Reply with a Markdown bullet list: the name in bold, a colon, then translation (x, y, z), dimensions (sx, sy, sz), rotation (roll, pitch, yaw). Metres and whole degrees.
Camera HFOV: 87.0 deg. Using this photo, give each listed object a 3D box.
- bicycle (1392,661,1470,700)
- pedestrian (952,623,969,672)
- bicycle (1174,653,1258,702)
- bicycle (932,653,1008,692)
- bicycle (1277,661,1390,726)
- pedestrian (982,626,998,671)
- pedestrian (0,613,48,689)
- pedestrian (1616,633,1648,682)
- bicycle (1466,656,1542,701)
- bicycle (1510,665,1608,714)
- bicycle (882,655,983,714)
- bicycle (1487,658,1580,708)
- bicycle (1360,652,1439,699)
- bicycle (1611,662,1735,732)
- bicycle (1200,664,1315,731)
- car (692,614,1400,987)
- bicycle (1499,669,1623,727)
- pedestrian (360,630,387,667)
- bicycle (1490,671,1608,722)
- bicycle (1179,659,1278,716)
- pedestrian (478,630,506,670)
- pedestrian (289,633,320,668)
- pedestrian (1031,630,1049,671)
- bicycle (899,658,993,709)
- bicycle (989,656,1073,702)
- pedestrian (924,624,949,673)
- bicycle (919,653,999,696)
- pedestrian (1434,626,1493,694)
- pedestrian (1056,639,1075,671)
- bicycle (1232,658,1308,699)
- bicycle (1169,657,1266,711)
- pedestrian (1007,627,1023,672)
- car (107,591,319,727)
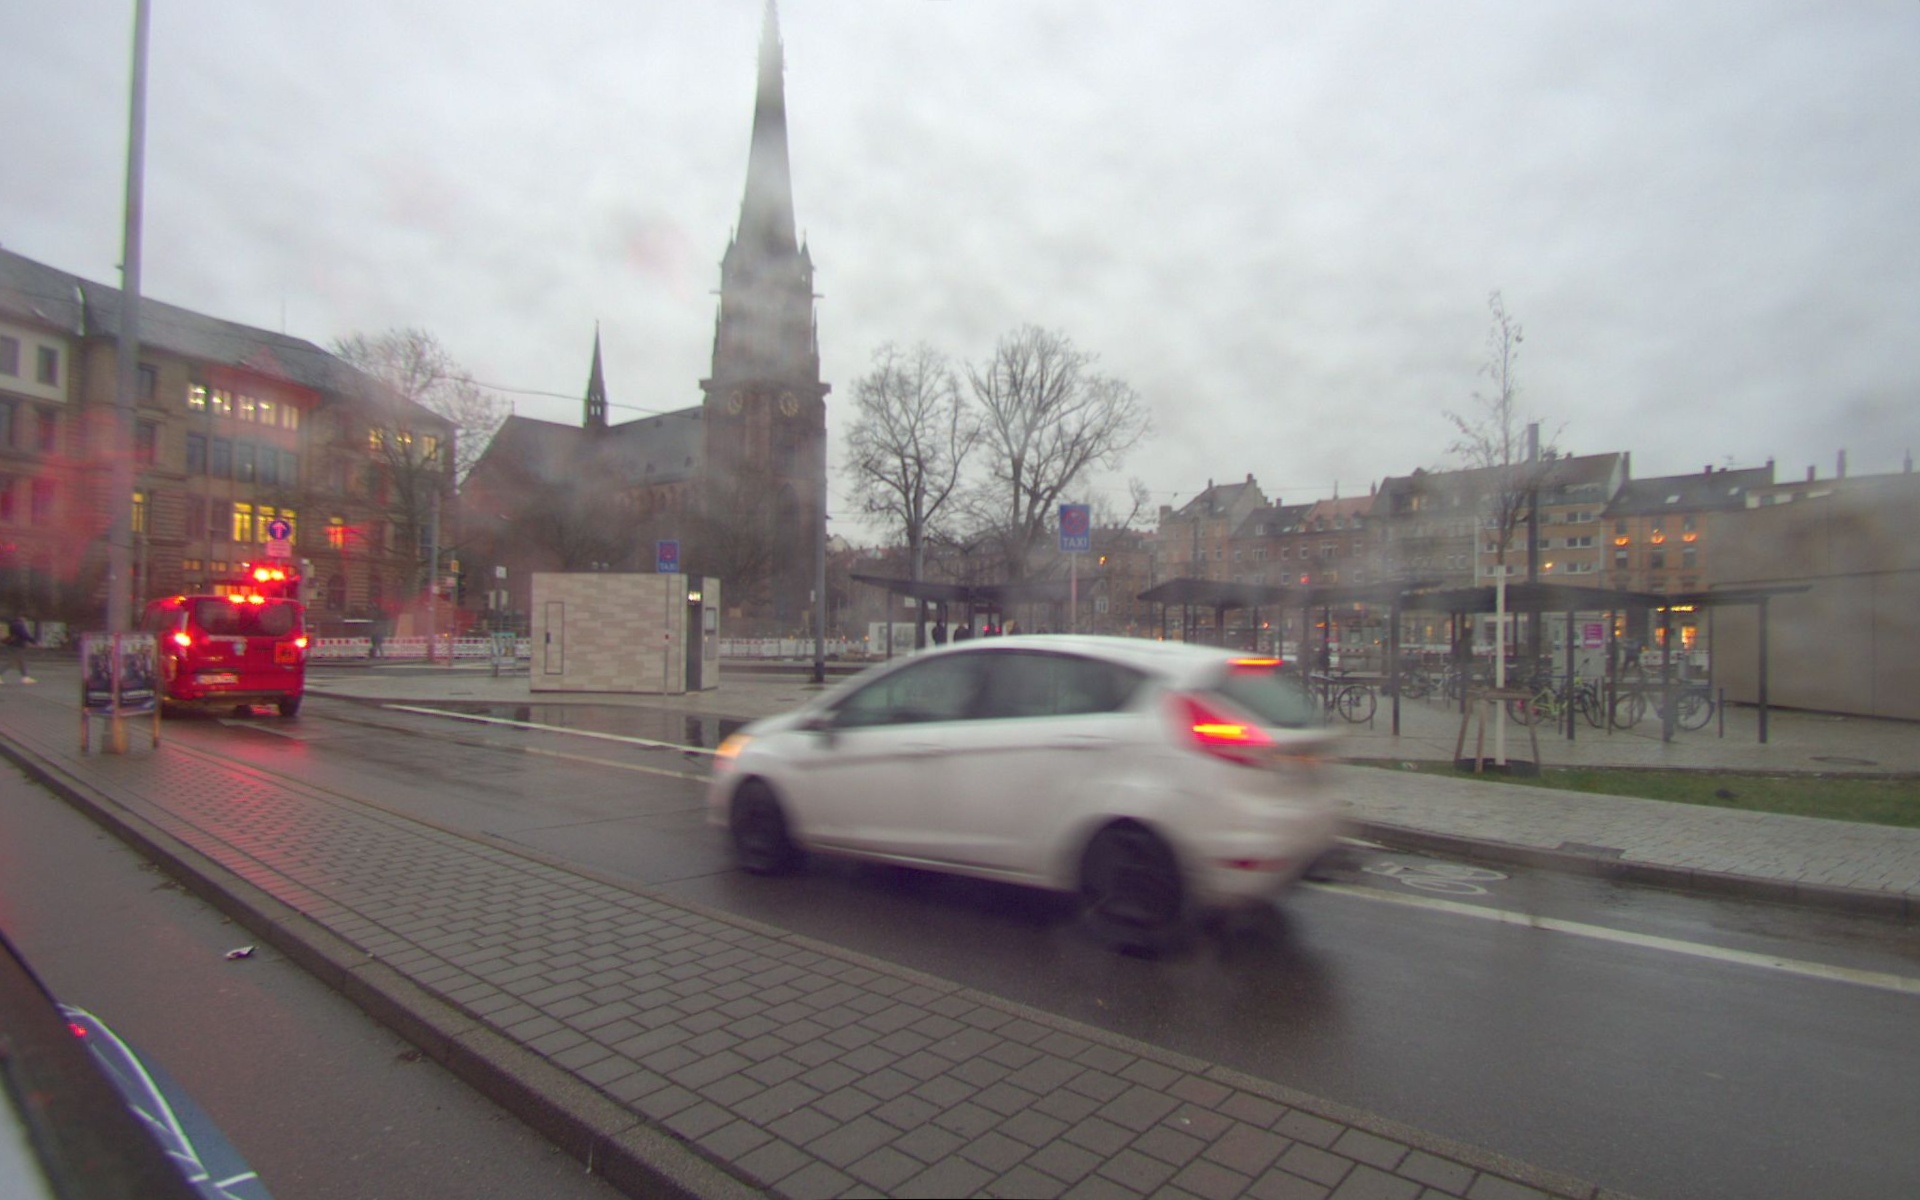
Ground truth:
- **bicycle**: translation (11.622, 1.985, 24.987), dimensions (1.672, 0.898, 0.474), rotation (1, -1, 5)
- **pedestrian**: translation (0.006, 1.797, 38.574), dimensions (0.619, 1.808, 0.672), rotation (-1, 0, -1)
- **bicycle**: translation (6.065, 1.824, 24.036), dimensions (1.905, 1.078, 0.473), rotation (1, -1, 11)
- **bicycle**: translation (0.272, 1.864, 26.122), dimensions (1.905, 0.917, 0.473), rotation (1, -1, 11)
- **bicycle**: translation (6.946, 1.729, 18.862), dimensions (1.905, 1.129, 0.473), rotation (1, -1, 11)
- **pedestrian**: translation (1.150, 1.854, 38.647), dimensions (0.556, 1.664, 0.540), rotation (-1, 0, -1)
- **pedestrian**: translation (-24.382, 1.309, 26.138), dimensions (0.671, 1.915, 0.989), rotation (0, -3, 30)
- **pedestrian**: translation (23.291, 2.004, 35.072), dimensions (0.689, 1.679, 0.529), rotation (1, -3, -9)
- **bicycle**: translation (13.234, 1.910, 24.660), dimensions (1.551, 1.044, 0.521), rotation (1, -1, 1)
- **bicycle**: translation (12.901, 1.913, 21.826), dimensions (1.751, 0.963, 0.473), rotation (1, -1, 11)
- **bicycle**: translation (-0.537, 1.649, 19.863), dimensions (1.905, 1.078, 0.473), rotation (1, -1, 11)
- **bicycle**: translation (13.254, 1.903, 23.413), dimensions (1.810, 1.081, 0.474), rotation (1, -1, 8)
- **bicycle**: translation (11.185, 1.918, 25.798), dimensions (1.780, 1.116, 0.473), rotation (1, -1, 11)
- **bicycle**: translation (12.690, 1.718, 18.041), dimensions (1.731, 1.165, 0.617), rotation (1, -1, 1)
- **bicycle**: translation (5.257, 1.715, 17.952), dimensions (1.905, 1.078, 0.473), rotation (1, -1, 11)
- **car**: translation (0.356, 0.865, 5.837), dimensions (3.708, 1.459, 1.723), rotation (0, -4, 37)
- **bicycle**: translation (11.127, 1.808, 18.780), dimensions (1.905, 0.983, 0.473), rotation (1, -1, 11)
- **pedestrian**: translation (-29.467, 2.412, 50.876), dimensions (0.886, 1.830, 0.673), rotation (1, -2, 3)
- **bicycle**: translation (11.368, 1.856, 19.567), dimensions (1.905, 0.898, 0.473), rotation (1, -1, 11)
- **bicycle**: translation (5.445, 1.769, 20.613), dimensions (1.905, 1.078, 0.473), rotation (1, -1, 11)
- **pedestrian**: translation (-22.584, 2.412, 48.853), dimensions (0.961, 1.915, 0.673), rotation (1, -2, 4)
- **pedestrian**: translation (-32.097, 2.445, 49.554), dimensions (1.202, 1.673, 0.766), rotation (-1, 0, 27)
- **pedestrian**: translation (3.035, 1.906, 38.328), dimensions (0.580, 1.513, 0.675), rotation (-1, 0, -1)
- **bicycle**: translation (-0.286, 1.729, 21.100), dimensions (1.905, 0.993, 0.473), rotation (1, -1, 11)
- **bicycle**: translation (1.640, 1.817, 23.419), dimensions (1.905, 0.993, 0.473), rotation (1, -1, 11)
- **pedestrian**: translation (-0.888, 1.809, 38.197), dimensions (0.658, 1.808, 0.830), rotation (-1, 0, -24)
- **bicycle**: translation (-0.014, 1.824, 24.865), dimensions (1.905, 0.993, 0.473), rotation (1, -1, 11)
- **pedestrian**: translation (13.451, 1.595, 27.084), dimensions (1.053, 1.778, 1.011), rotation (0, -3, 3)
- **pedestrian**: translation (3.982, 2.067, 38.320), dimensions (0.610, 1.165, 0.806), rotation (-1, 0, -1)
- **bicycle**: translation (7.663, 1.936, 25.066), dimensions (1.729, 0.946, 0.474), rotation (1, -1, 7)
- **bicycle**: translation (5.432, 1.768, 21.397), dimensions (1.899, 1.078, 0.474), rotation (1, -1, 2)
- **pedestrian**: translation (2.069, 1.851, 38.109), dimensions (0.543, 1.648, 0.571), rotation (-1, 0, -1)
- **car**: translation (-13.178, 0.991, 17.754), dimensions (4.640, 2.086, 1.904), rotation (-1, -4, 40)
